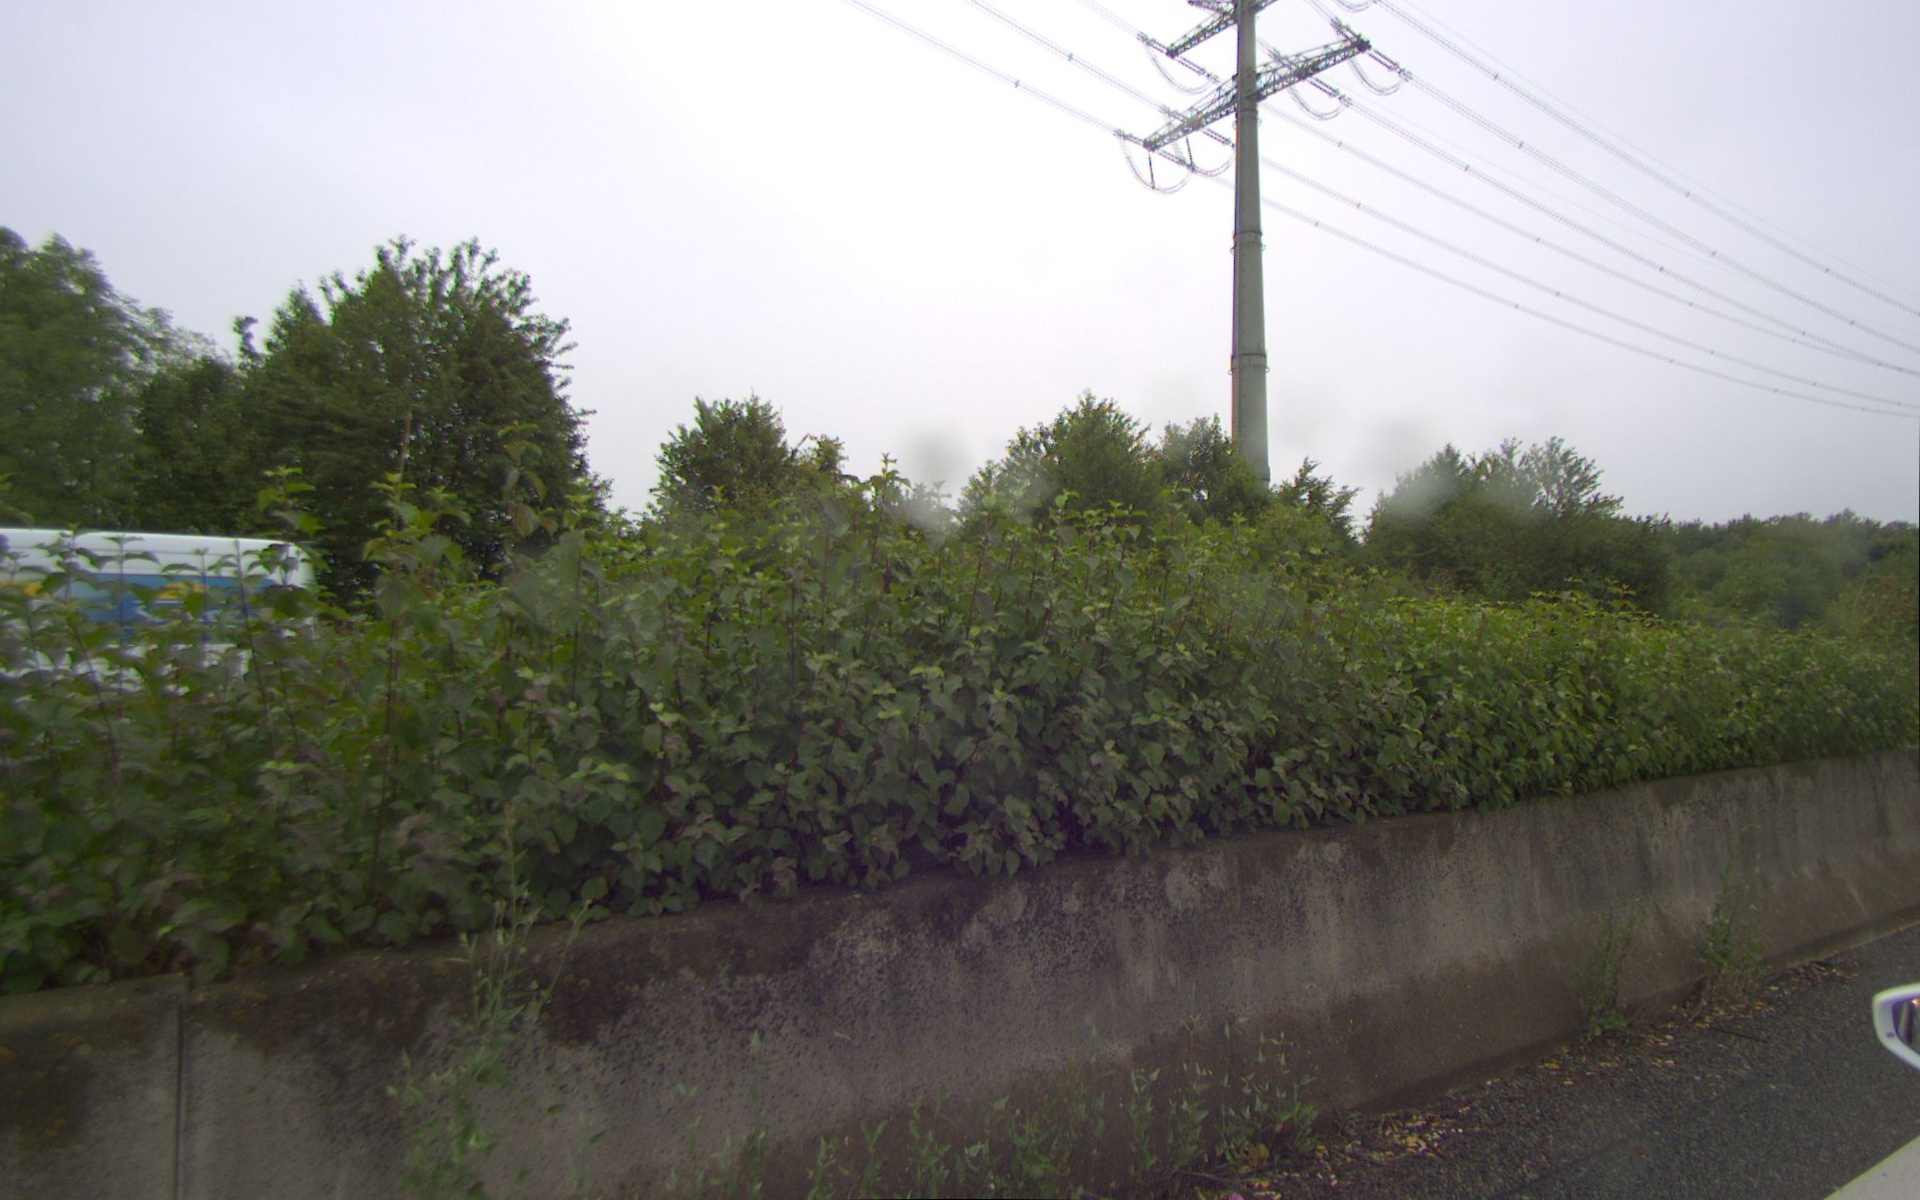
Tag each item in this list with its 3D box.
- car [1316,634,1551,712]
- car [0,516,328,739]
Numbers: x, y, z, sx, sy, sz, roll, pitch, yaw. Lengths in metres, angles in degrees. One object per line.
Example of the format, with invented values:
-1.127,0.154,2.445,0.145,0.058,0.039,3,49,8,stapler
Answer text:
8.598,1.252,18.215,3.953,1.207,1.984,1,-1,-30,car
-10.272,0.286,11.374,5.142,2.295,2.170,1,-1,-30,car
